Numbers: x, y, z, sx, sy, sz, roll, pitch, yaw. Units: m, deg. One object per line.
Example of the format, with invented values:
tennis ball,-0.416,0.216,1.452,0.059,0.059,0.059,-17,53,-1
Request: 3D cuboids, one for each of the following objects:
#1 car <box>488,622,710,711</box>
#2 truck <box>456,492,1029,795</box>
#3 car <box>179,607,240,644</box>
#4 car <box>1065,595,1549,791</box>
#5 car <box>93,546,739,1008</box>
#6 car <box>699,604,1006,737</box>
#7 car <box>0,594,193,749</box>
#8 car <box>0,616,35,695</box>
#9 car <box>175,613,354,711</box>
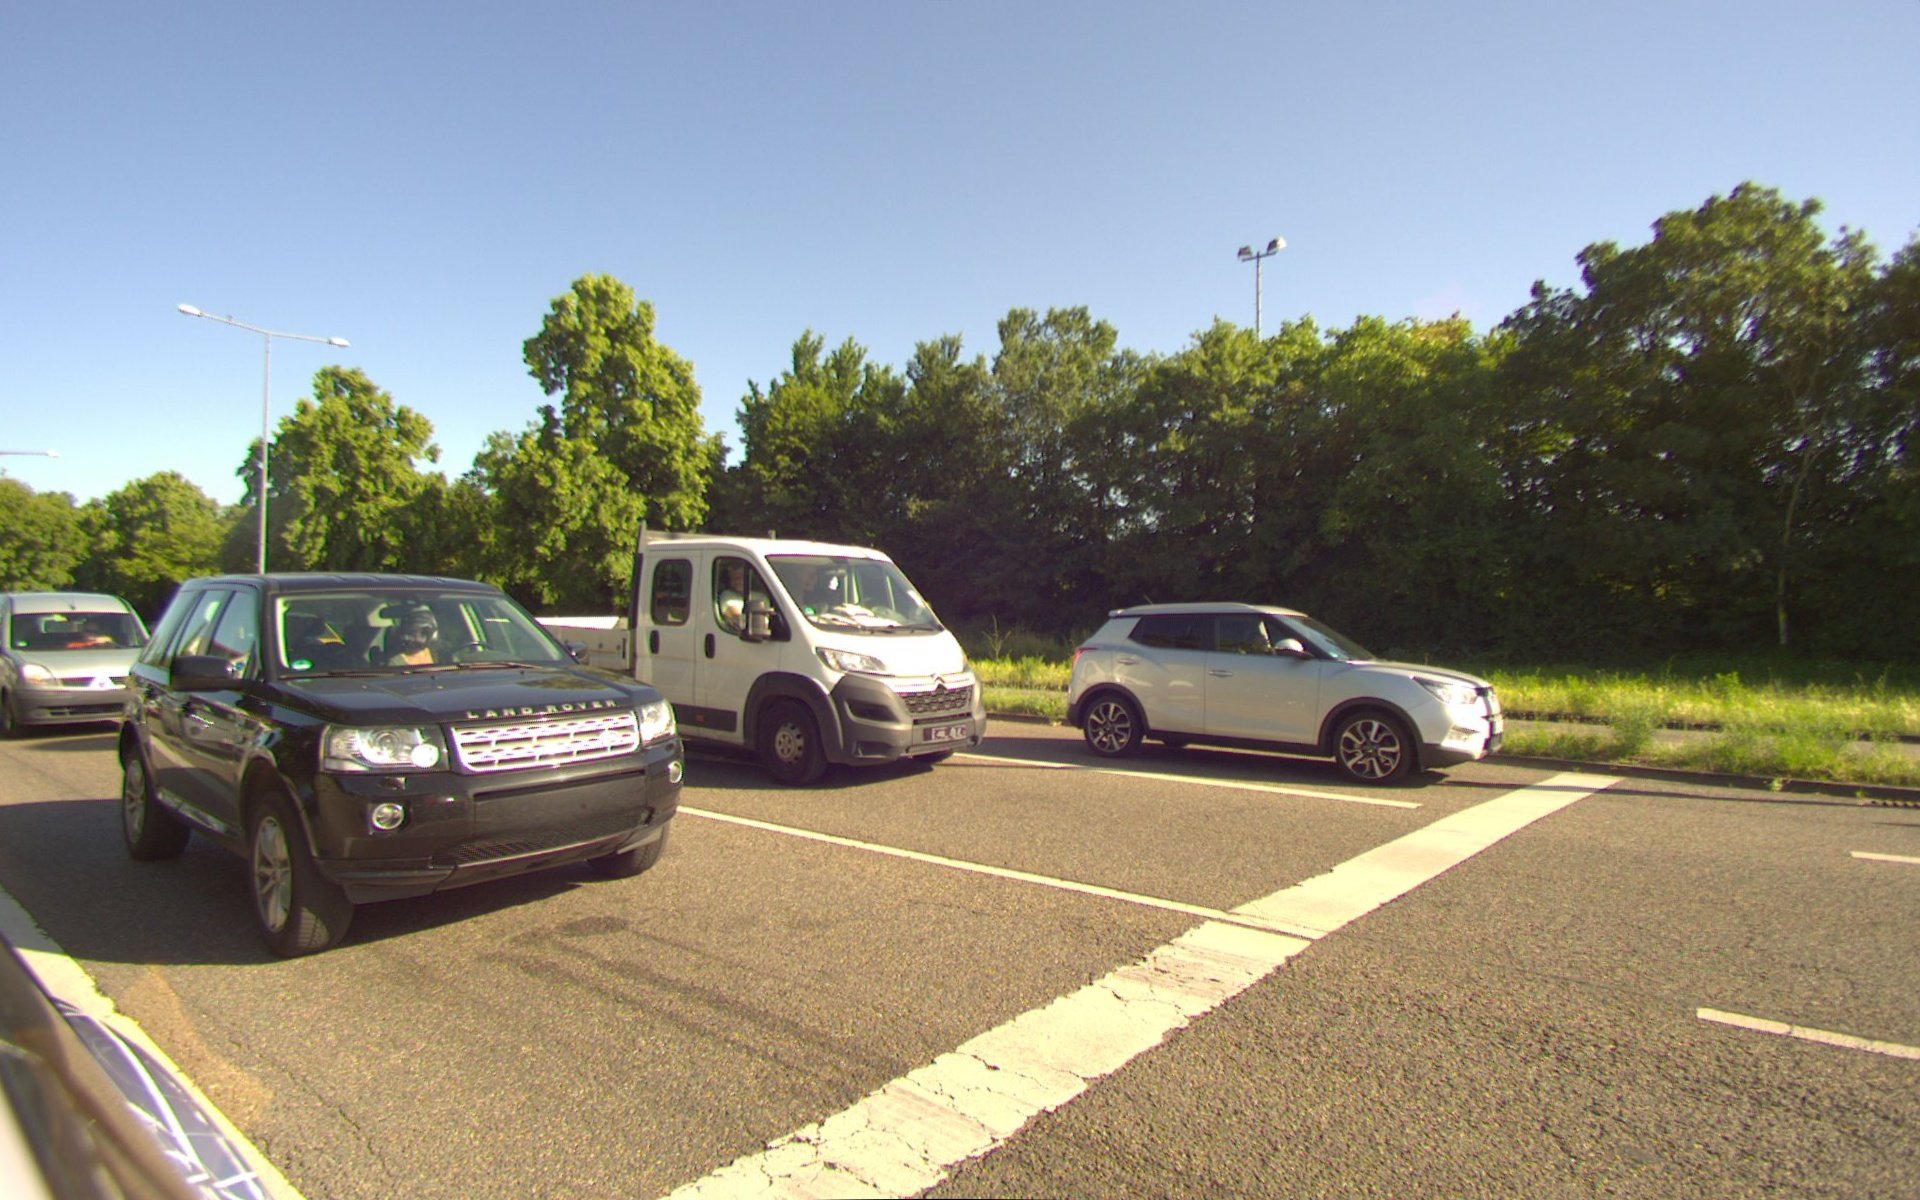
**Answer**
car,-6.641,1.125,18.426,4.351,1.415,1.812,-1,-2,39
truck,-2.661,0.408,10.760,6.766,2.327,2.163,-1,-3,39
car,-44.657,1.505,60.183,4.535,2.100,1.893,-1,0,40
car,3.301,0.793,10.059,4.190,1.549,1.812,-1,-3,39
car,-3.366,0.684,5.845,4.388,1.697,1.803,-1,-1,40
car,-1.598,0.895,14.208,4.239,1.587,1.855,-1,-2,39
car,-11.906,0.824,13.431,4.362,1.741,1.895,-1,0,41
car,-20.292,1.089,20.440,4.362,1.497,1.895,-1,0,41
car,-12.453,1.016,18.028,3.998,1.512,1.704,-1,0,41
